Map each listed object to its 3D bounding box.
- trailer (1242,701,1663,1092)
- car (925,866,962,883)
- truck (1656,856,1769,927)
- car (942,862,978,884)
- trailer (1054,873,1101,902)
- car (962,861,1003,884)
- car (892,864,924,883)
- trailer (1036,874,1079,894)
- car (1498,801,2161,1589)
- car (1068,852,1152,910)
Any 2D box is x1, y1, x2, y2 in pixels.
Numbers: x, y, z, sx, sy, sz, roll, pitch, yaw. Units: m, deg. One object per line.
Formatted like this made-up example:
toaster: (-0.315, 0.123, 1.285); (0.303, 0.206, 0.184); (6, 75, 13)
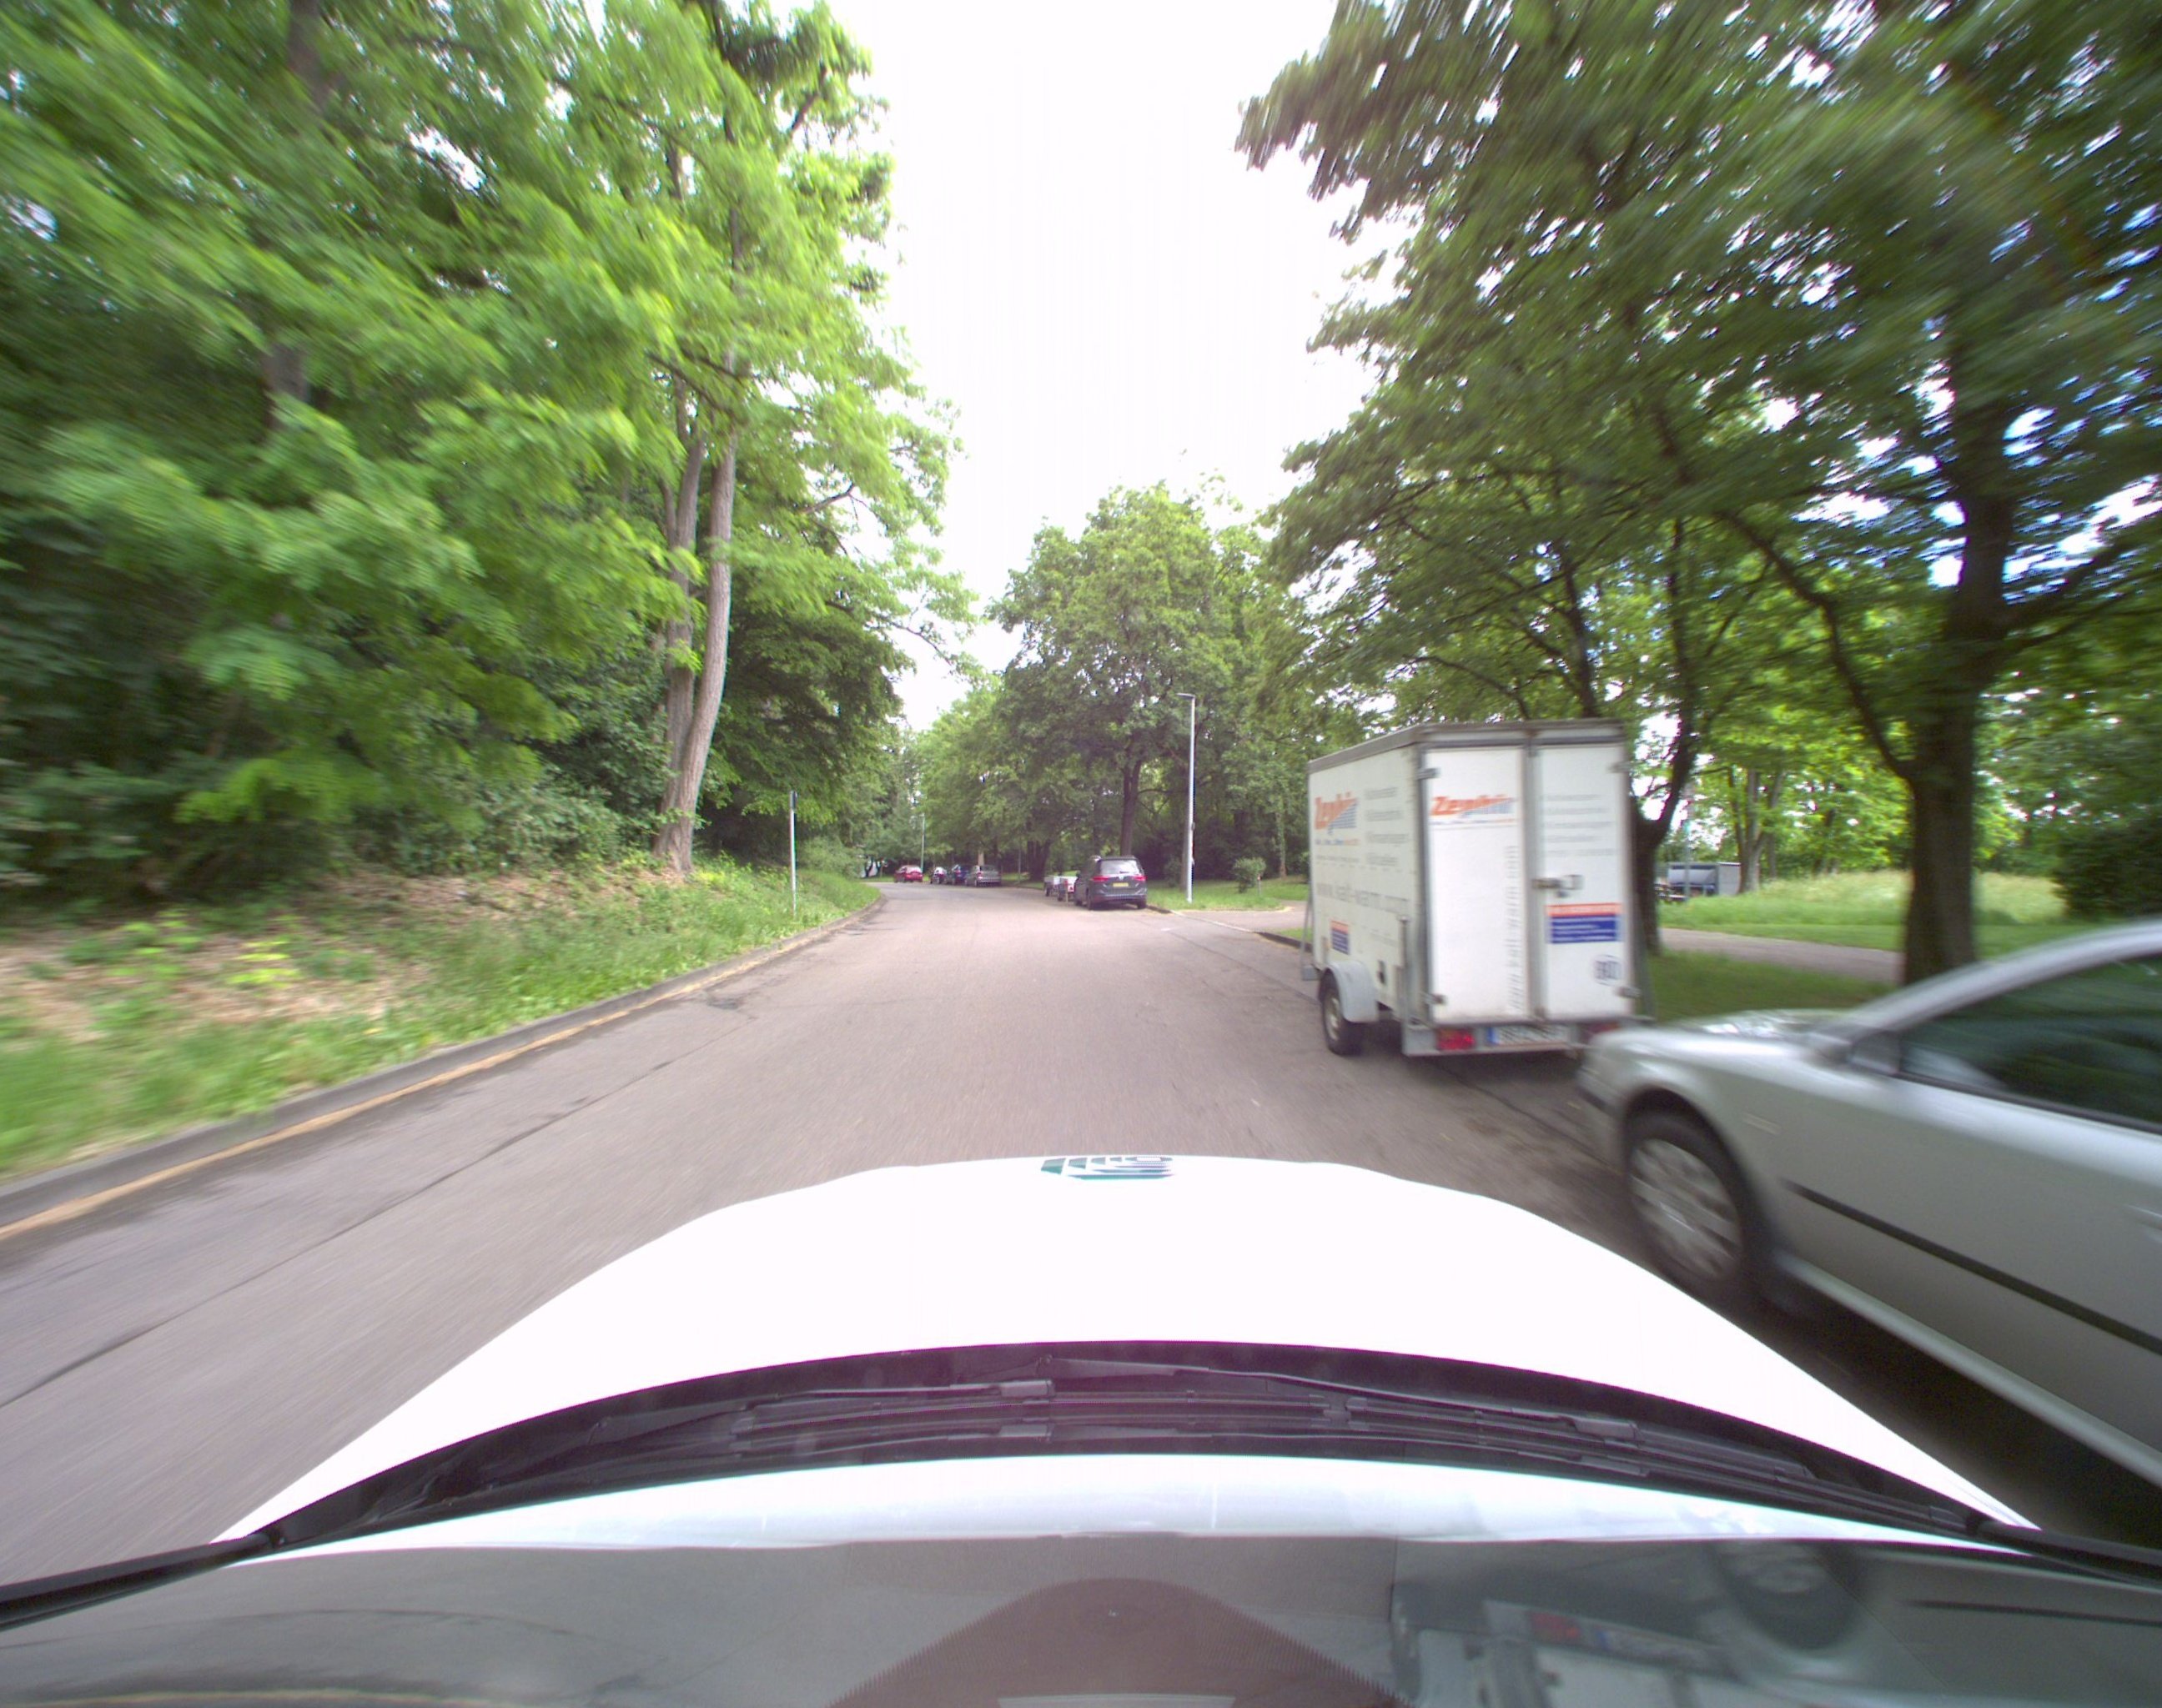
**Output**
trailer: (2.738, 0.270, 7.089); (1.756, 2.427, 3.884); (-1, -1, -2)
car: (-10.889, 1.624, 64.411); (1.759, 1.337, 4.378); (0, -2, -25)
truck: (38.614, 2.314, 49.654); (9.610, 3.998, 2.668); (2, -3, -35)
car: (-8.965, 1.404, 60.090); (1.721, 1.510, 4.149); (2, -2, -22)
trailer: (-0.188, 1.286, 32.165); (1.356, 0.969, 3.882); (1, 0, -7)
car: (-6.522, 1.217, 53.739); (1.724, 1.431, 3.920); (-1, -1, -21)
car: (-15.773, 1.788, 74.096); (1.749, 1.562, 3.961); (0, -2, -30)
trailer: (-1.106, 1.342, 36.857); (1.365, 0.848, 3.263); (1, -2, -13)
car: (2.945, 0.642, 1.647); (1.736, 1.525, 4.633); (-1, -1, -1)
car: (0.819, 0.834, 26.173); (1.775, 1.663, 4.825); (1, -1, -9)
